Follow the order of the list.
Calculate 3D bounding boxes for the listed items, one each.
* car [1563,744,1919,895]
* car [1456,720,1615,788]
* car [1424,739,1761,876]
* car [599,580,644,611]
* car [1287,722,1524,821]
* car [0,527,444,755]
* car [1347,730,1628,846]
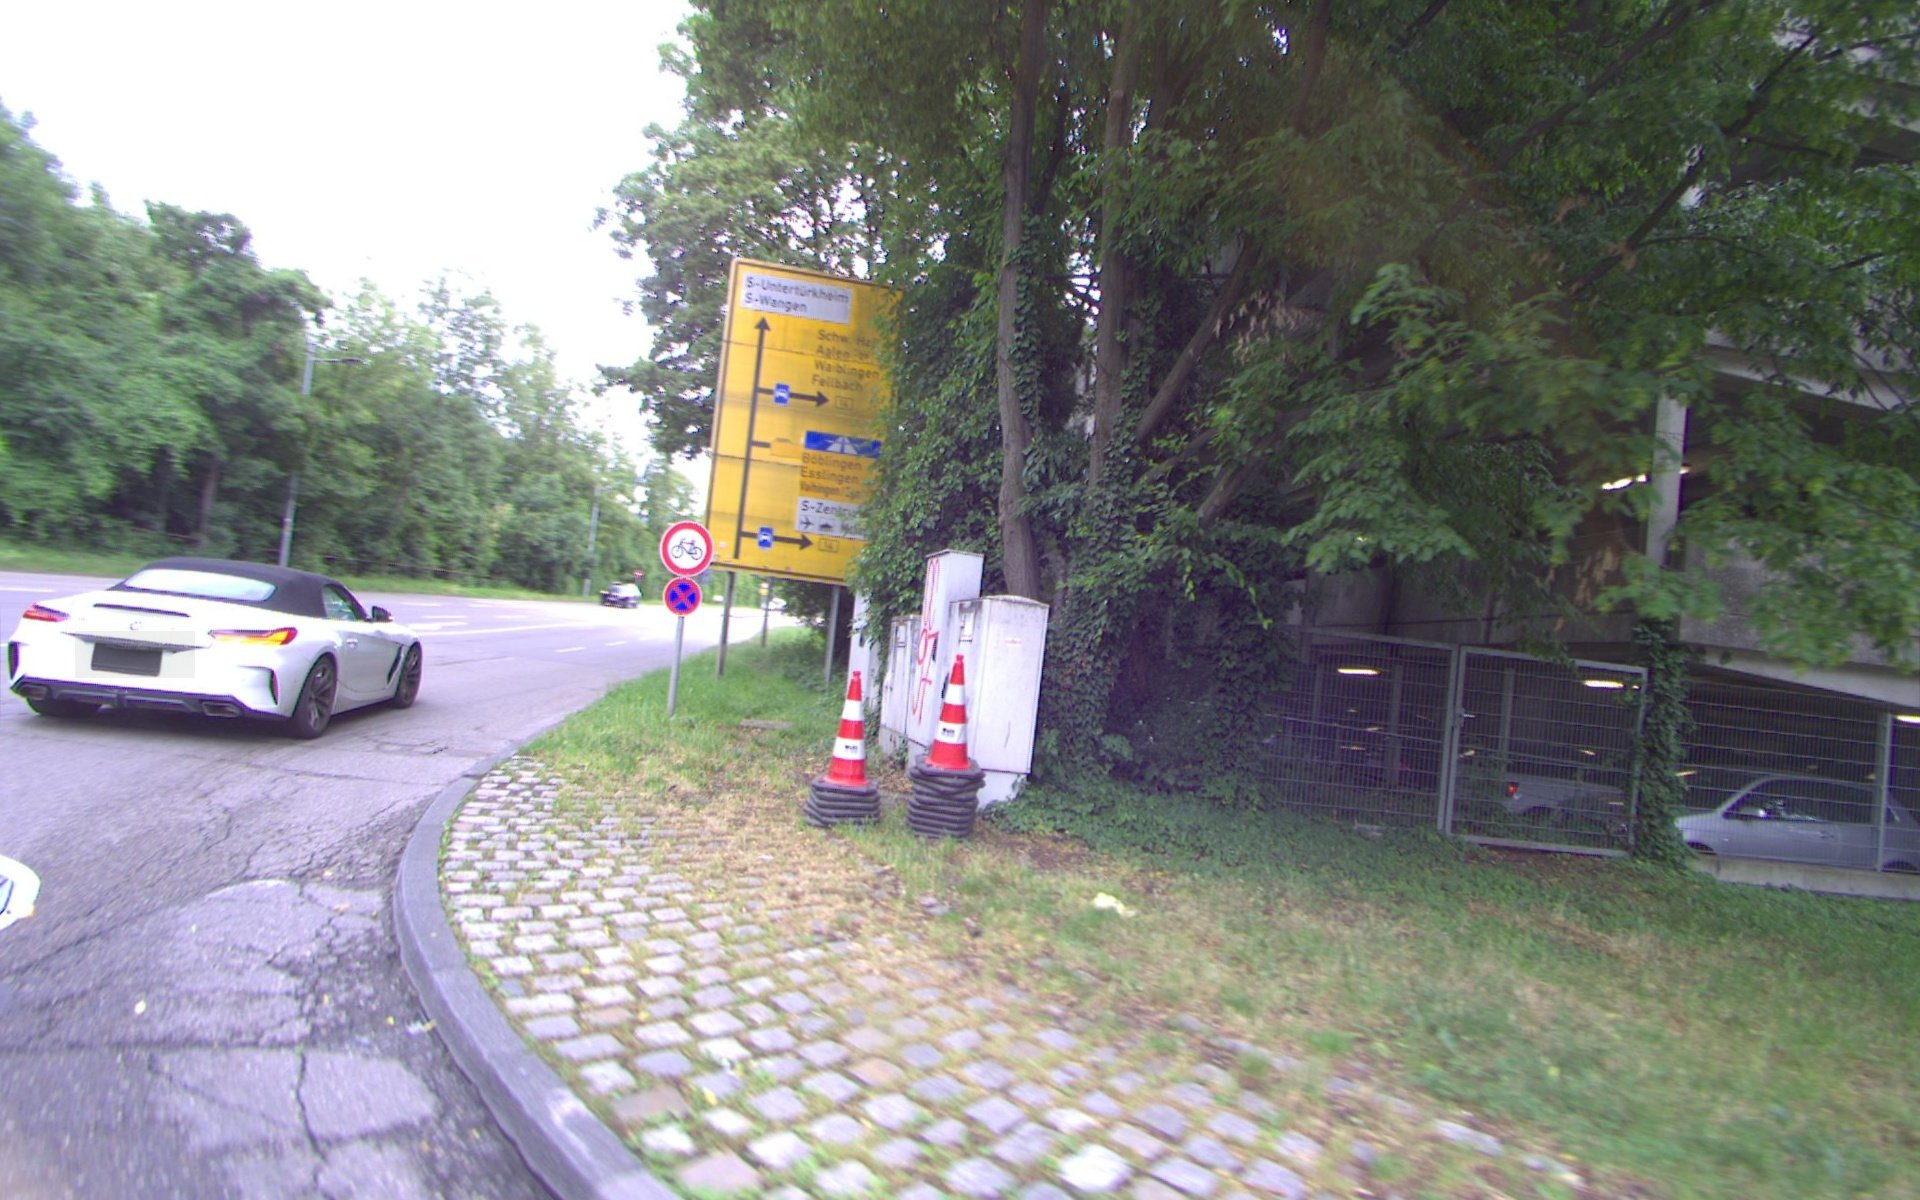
[{"bbox_3d":[8.979,2.480,11.520,3.198,1.099,1.538,8,-2,-6],"label":"car"},{"bbox_3d":[18.316,4.905,32.100,4.002,1.505,1.825,7,-2,-7],"label":"car"},{"bbox_3d":[8.574,2.804,13.806,3.576,1.175,1.623,8,-2,-4],"label":"car"},{"bbox_3d":[-23.513,-0.270,70.021,1.796,1.671,4.222,9,-3,-4],"label":"car"},{"bbox_3d":[8.141,3.137,18.553,3.576,1.175,1.623,8,-2,-4],"label":"car"},{"bbox_3d":[-6.112,0.325,8.708,1.851,1.324,3.866,8,-3,-12],"label":"car"},{"bbox_3d":[8.309,2.962,16.029,3.576,1.175,1.623,8,-2,-4],"label":"car"}]
